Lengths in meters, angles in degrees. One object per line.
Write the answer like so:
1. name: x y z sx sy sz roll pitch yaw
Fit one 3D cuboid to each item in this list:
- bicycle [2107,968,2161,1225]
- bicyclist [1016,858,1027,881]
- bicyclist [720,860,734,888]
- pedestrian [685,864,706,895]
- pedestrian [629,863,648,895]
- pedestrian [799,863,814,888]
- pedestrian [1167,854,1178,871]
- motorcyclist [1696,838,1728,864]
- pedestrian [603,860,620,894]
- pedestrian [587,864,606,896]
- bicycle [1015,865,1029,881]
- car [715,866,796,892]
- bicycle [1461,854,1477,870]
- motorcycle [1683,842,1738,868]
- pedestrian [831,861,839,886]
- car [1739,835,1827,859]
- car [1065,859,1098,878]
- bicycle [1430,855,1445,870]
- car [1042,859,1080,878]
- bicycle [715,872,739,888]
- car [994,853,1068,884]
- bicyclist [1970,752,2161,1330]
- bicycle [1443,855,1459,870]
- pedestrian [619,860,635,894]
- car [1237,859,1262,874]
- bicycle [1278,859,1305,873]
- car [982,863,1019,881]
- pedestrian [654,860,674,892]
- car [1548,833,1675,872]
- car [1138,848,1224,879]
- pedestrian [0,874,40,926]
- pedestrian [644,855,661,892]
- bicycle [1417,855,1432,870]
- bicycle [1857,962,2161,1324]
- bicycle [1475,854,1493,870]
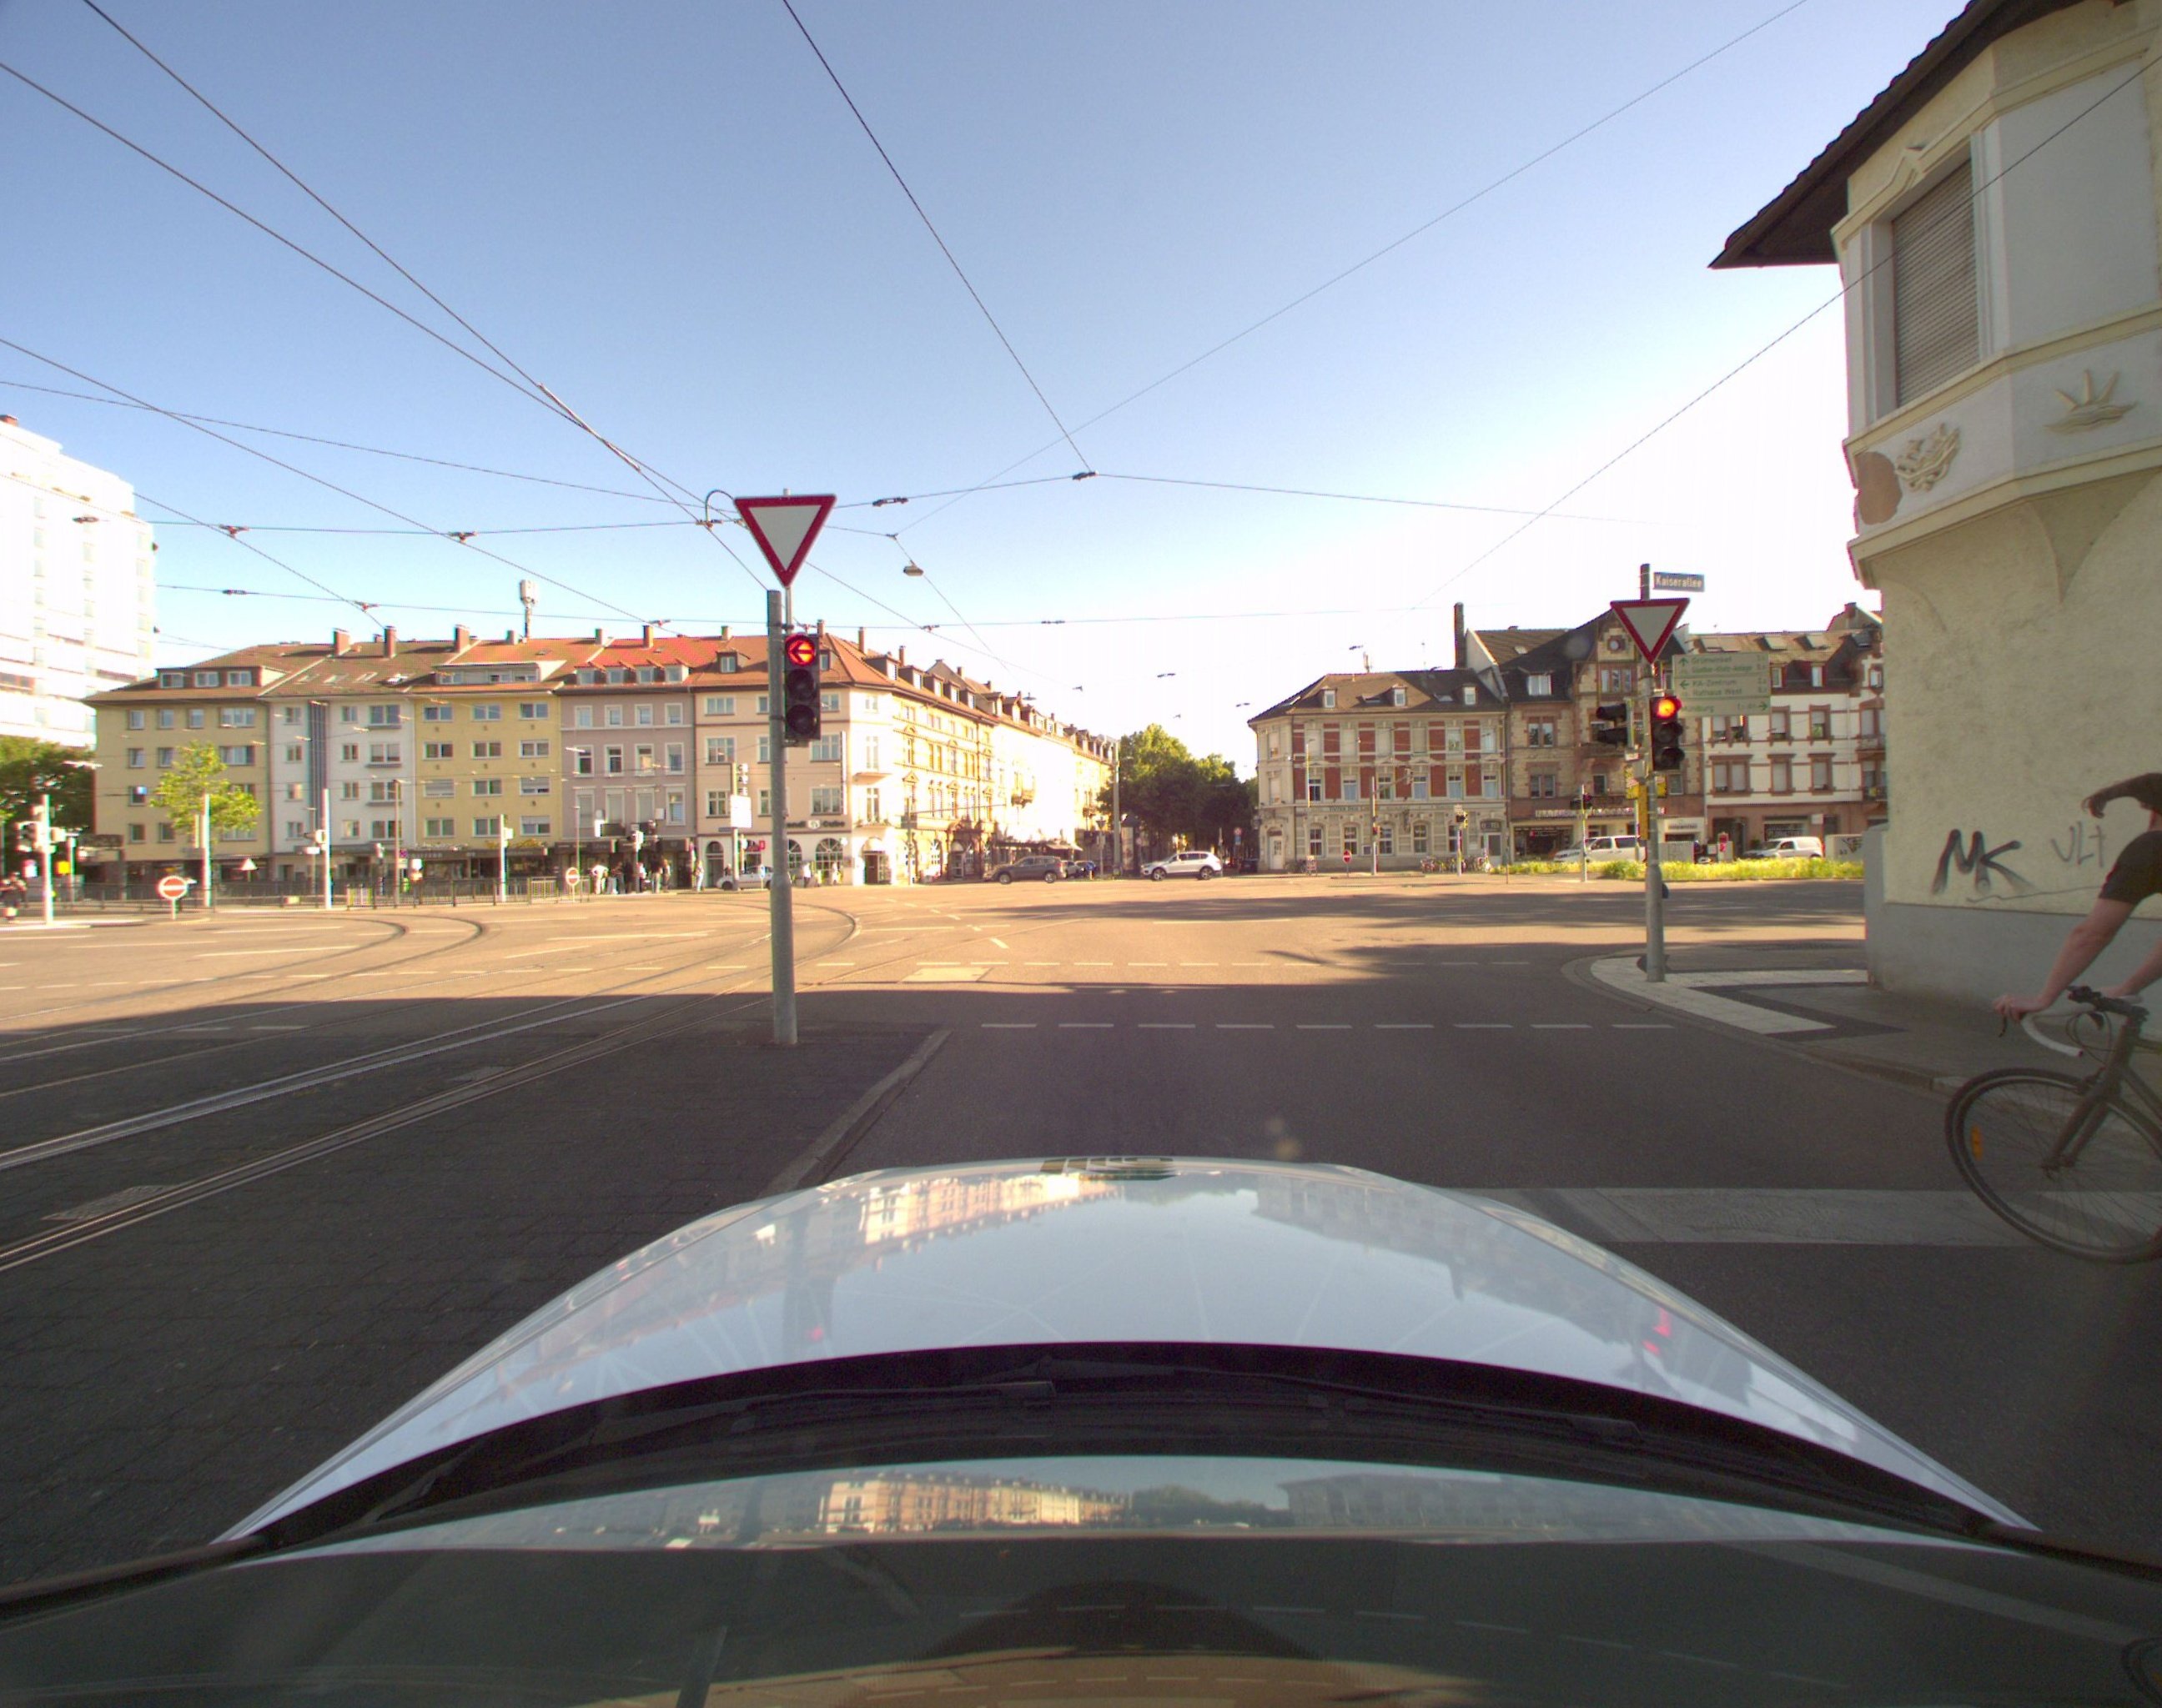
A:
1. bicycle: 4.454 0.953 2.455 0.501 0.983 1.783 0 -1 2
2. bicyclist: -4.762 1.219 65.442 0.561 1.804 0.918 -1 -1 17
3. bicyclist: -23.028 1.299 52.969 0.618 1.790 0.616 0 -1 7
4. pedestrian: -19.851 1.302 41.972 0.666 1.594 0.815 0 -1 1
5. pedestrian: -22.952 1.312 42.293 0.571 1.648 0.727 0 -1 1
6. pedestrian: -18.369 1.409 54.431 0.562 1.642 0.797 -1 -1 25
7. pedestrian: 11.271 1.052 100.034 0.967 2.014 0.910 0 -1 -30
8. motorcyclist: 32.180 -0.147 41.539 1.009 1.300 0.790 0 -1 6
9. pedestrian: -23.318 1.144 40.451 0.520 1.648 0.498 0 -1 1
10. pedestrian: -25.068 1.320 42.145 0.582 1.648 0.616 0 -1 1
11. bicycle: -4.753 1.487 65.431 0.561 1.254 1.564 -1 -1 17
12. car: -18.088 1.378 45.352 3.777 1.403 1.699 0 -1 -1
13. bicycle: 25.181 0.540 52.876 0.758 1.007 2.231 -1 -1 20
14. motorcycle: 32.087 0.053 41.544 2.124 1.333 0.798 0 -1 6
15. pedestrian: -17.091 1.349 56.647 0.497 1.676 0.587 0 -1 -12
16. car: 45.136 -0.443 52.448 3.961 1.438 1.874 0 -1 5
17. car: 0.065 1.289 73.784 1.809 1.685 3.893 -1 -1 18
18. bicycle: 23.255 0.568 53.102 0.758 0.968 2.221 -1 -1 20
19. car: -1.617 1.177 67.465 1.788 1.585 4.179 -1 -1 19
20. bicycle: -23.028 1.689 52.960 0.618 1.030 1.758 0 -1 7
21. car: -2.926 0.850 48.360 4.213 1.773 1.818 0 -1 1
22. bicyclist: 3.596 0.570 2.550 0.587 1.767 0.936 0 -1 2
23. bicycle: 24.042 0.562 52.978 0.758 0.983 2.221 -1 -1 20
24. pedestrian: -22.576 1.139 40.497 0.520 1.648 0.498 0 -1 1
25. car: 17.028 1.253 82.284 1.741 1.556 4.021 -1 -1 22
26. bicycle: 14.703 0.827 56.929 1.789 0.963 0.606 -1 -1 16
27. car: -6.618 1.474 67.375 1.647 1.374 3.909 -1 -1 17
28. pedestrian: -21.522 1.113 42.058 0.580 1.648 0.840 0 -1 1
29. car: 27.179 -0.080 41.820 5.179 1.854 2.001 -1 0 2
30. car: 5.808 0.562 47.586 4.669 1.734 1.832 0 -1 -7
31. pedestrian: -33.801 1.440 25.807 0.610 1.609 0.764 0 -1 -4
32. pedestrian: -21.595 0.982 41.041 0.525 1.823 0.677 0 -1 1
33. bicycle: 22.500 0.576 53.368 0.758 0.963 2.221 -1 -1 20
34. bicycle: 3.584 0.958 2.635 0.480 0.991 1.783 0 -1 2
35. bicycle: 26.042 0.531 52.679 0.785 1.016 2.221 -1 -1 20
